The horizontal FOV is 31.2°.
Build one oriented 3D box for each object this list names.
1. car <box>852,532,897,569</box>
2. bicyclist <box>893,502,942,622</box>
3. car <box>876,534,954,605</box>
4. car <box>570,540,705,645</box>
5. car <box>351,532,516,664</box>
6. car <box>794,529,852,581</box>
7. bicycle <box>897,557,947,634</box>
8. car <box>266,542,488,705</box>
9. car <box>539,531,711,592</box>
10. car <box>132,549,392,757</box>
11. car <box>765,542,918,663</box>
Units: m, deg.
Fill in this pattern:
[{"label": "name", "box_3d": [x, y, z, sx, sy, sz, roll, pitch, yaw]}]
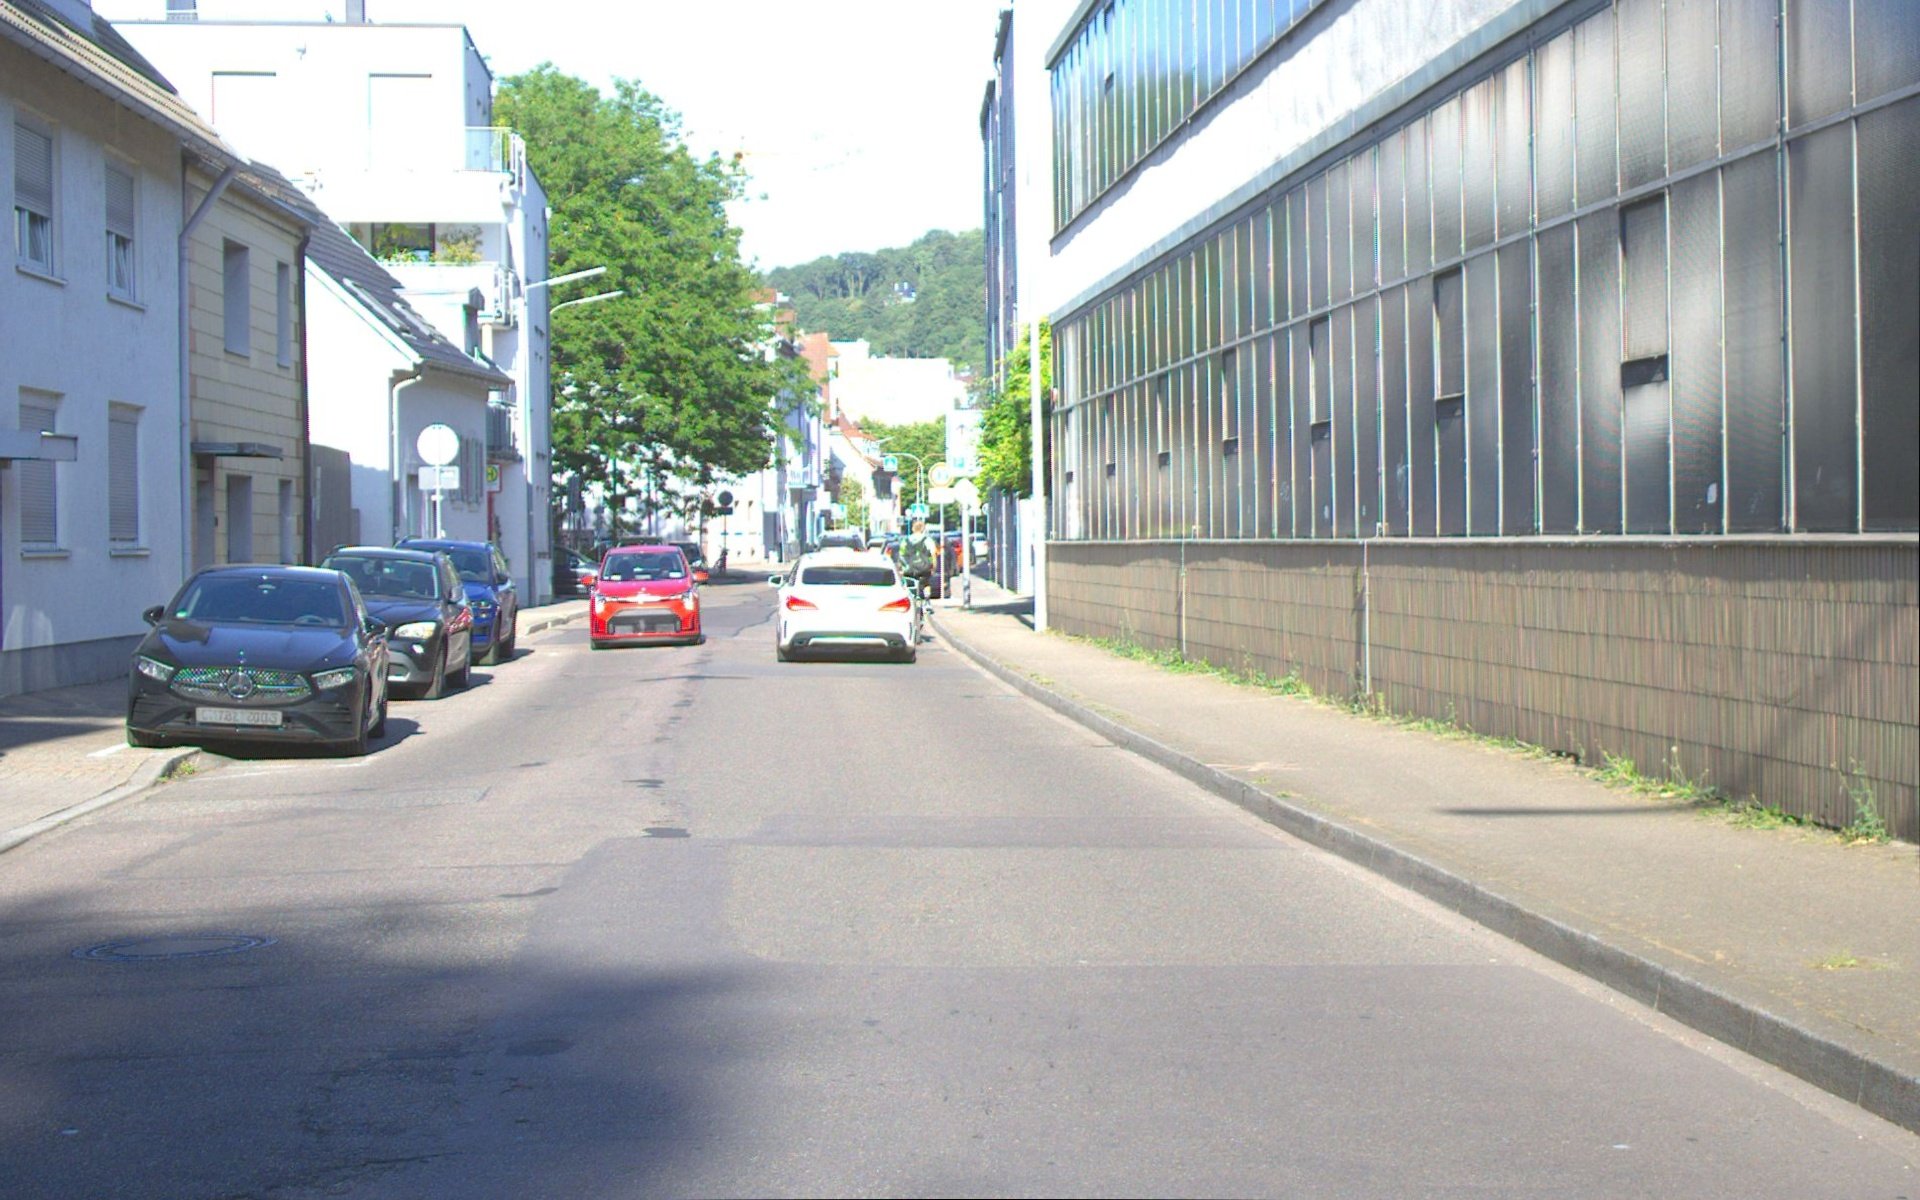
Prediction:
[{"label": "car", "box_3d": [-3.592, -2.098, 145.682, 1.842, 1.486, 4.144, -1, 1, -1]}, {"label": "bicyclist", "box_3d": [-0.648, -0.579, 52.136, 0.698, 1.784, 1.041, -1, 1, -2]}, {"label": "car", "box_3d": [-1.126, -0.765, 84.486, 1.629, 1.581, 4.070, -4, 1, -3]}, {"label": "car", "box_3d": [-4.757, -0.138, 51.174, 1.842, 1.486, 4.145, -1, 1, -4]}, {"label": "car", "box_3d": [-7.035, -0.062, 46.257, 1.808, 1.581, 4.194, 0, 3, -3]}, {"label": "car", "box_3d": [-4.974, -1.657, 124.322, 1.853, 1.785, 4.608, -1, 2, -5]}, {"label": "bicycle", "box_3d": [-0.585, -0.079, 52.159, 0.698, 1.126, 2.403, -1, 1, -2]}, {"label": "car", "box_3d": [-6.295, 0.203, 37.513, 1.857, 1.581, 4.336, 0, 2, -2]}, {"label": "car", "box_3d": [-8.566, -0.987, 88.054, 4.131, 1.486, 1.848, -1, 1, 4]}, {"label": "car", "box_3d": [-5.507, 0.362, 27.545, 1.684, 1.530, 4.336, 0, 1, -7]}, {"label": "car", "box_3d": [-1.602, -0.001, 45.167, 1.842, 1.486, 4.145, -1, 1, -4]}]
